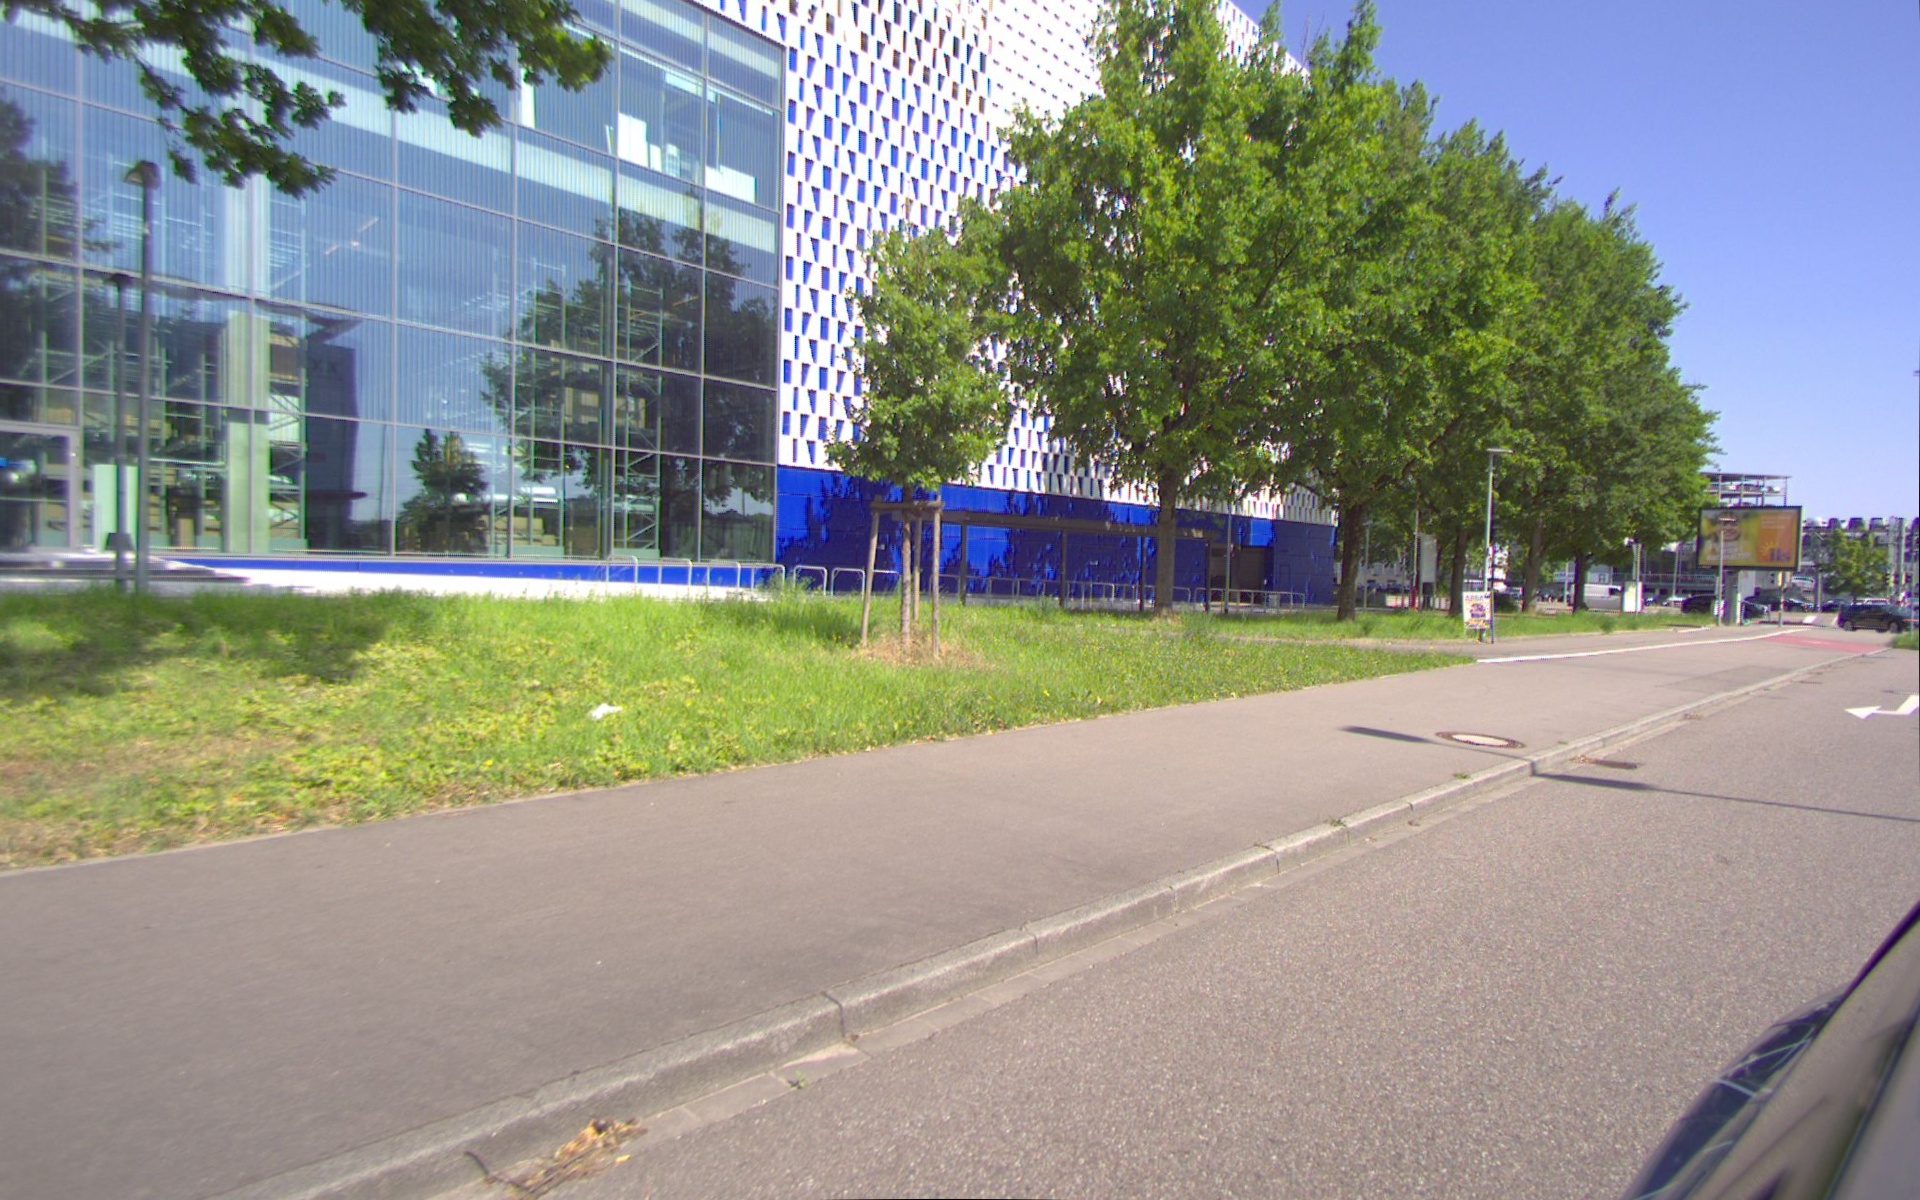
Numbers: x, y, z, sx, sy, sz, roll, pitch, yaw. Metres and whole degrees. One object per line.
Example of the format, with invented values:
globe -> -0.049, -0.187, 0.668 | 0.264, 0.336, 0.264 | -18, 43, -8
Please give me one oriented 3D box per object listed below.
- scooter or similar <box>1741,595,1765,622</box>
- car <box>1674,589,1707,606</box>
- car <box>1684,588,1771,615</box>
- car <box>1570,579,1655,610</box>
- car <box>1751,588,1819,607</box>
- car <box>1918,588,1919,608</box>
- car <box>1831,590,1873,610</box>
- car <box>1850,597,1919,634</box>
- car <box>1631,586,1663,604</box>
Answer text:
scooter or similar -> 36.821, 0.392, 46.992 | 1.160, 1.181, 0.403 | -1, 2, -28
car -> 64.569, -0.247, 89.383 | 1.997, 1.440, 4.052 | 1, 0, 41
car -> 50.928, 0.085, 67.208 | 4.489, 1.647, 1.689 | 2, 3, 44
car -> 48.124, -0.454, 74.714 | 4.985, 2.032, 1.714 | 3, 4, 44
car -> 69.651, -0.226, 85.471 | 4.338, 1.366, 1.793 | 3, 2, 44
car -> 78.956, -0.066, 80.101 | 1.947, 1.607, 4.472 | 0, 2, -44
car -> 72.344, 0.016, 82.040 | 3.929, 1.479, 1.998 | 0, 2, -40
car -> 46.601, 0.757, 49.945 | 1.740, 1.482, 4.237 | 1, 4, 4
car -> 62.183, -0.463, 91.596 | 1.882, 1.565, 3.829 | 3, 2, 42
